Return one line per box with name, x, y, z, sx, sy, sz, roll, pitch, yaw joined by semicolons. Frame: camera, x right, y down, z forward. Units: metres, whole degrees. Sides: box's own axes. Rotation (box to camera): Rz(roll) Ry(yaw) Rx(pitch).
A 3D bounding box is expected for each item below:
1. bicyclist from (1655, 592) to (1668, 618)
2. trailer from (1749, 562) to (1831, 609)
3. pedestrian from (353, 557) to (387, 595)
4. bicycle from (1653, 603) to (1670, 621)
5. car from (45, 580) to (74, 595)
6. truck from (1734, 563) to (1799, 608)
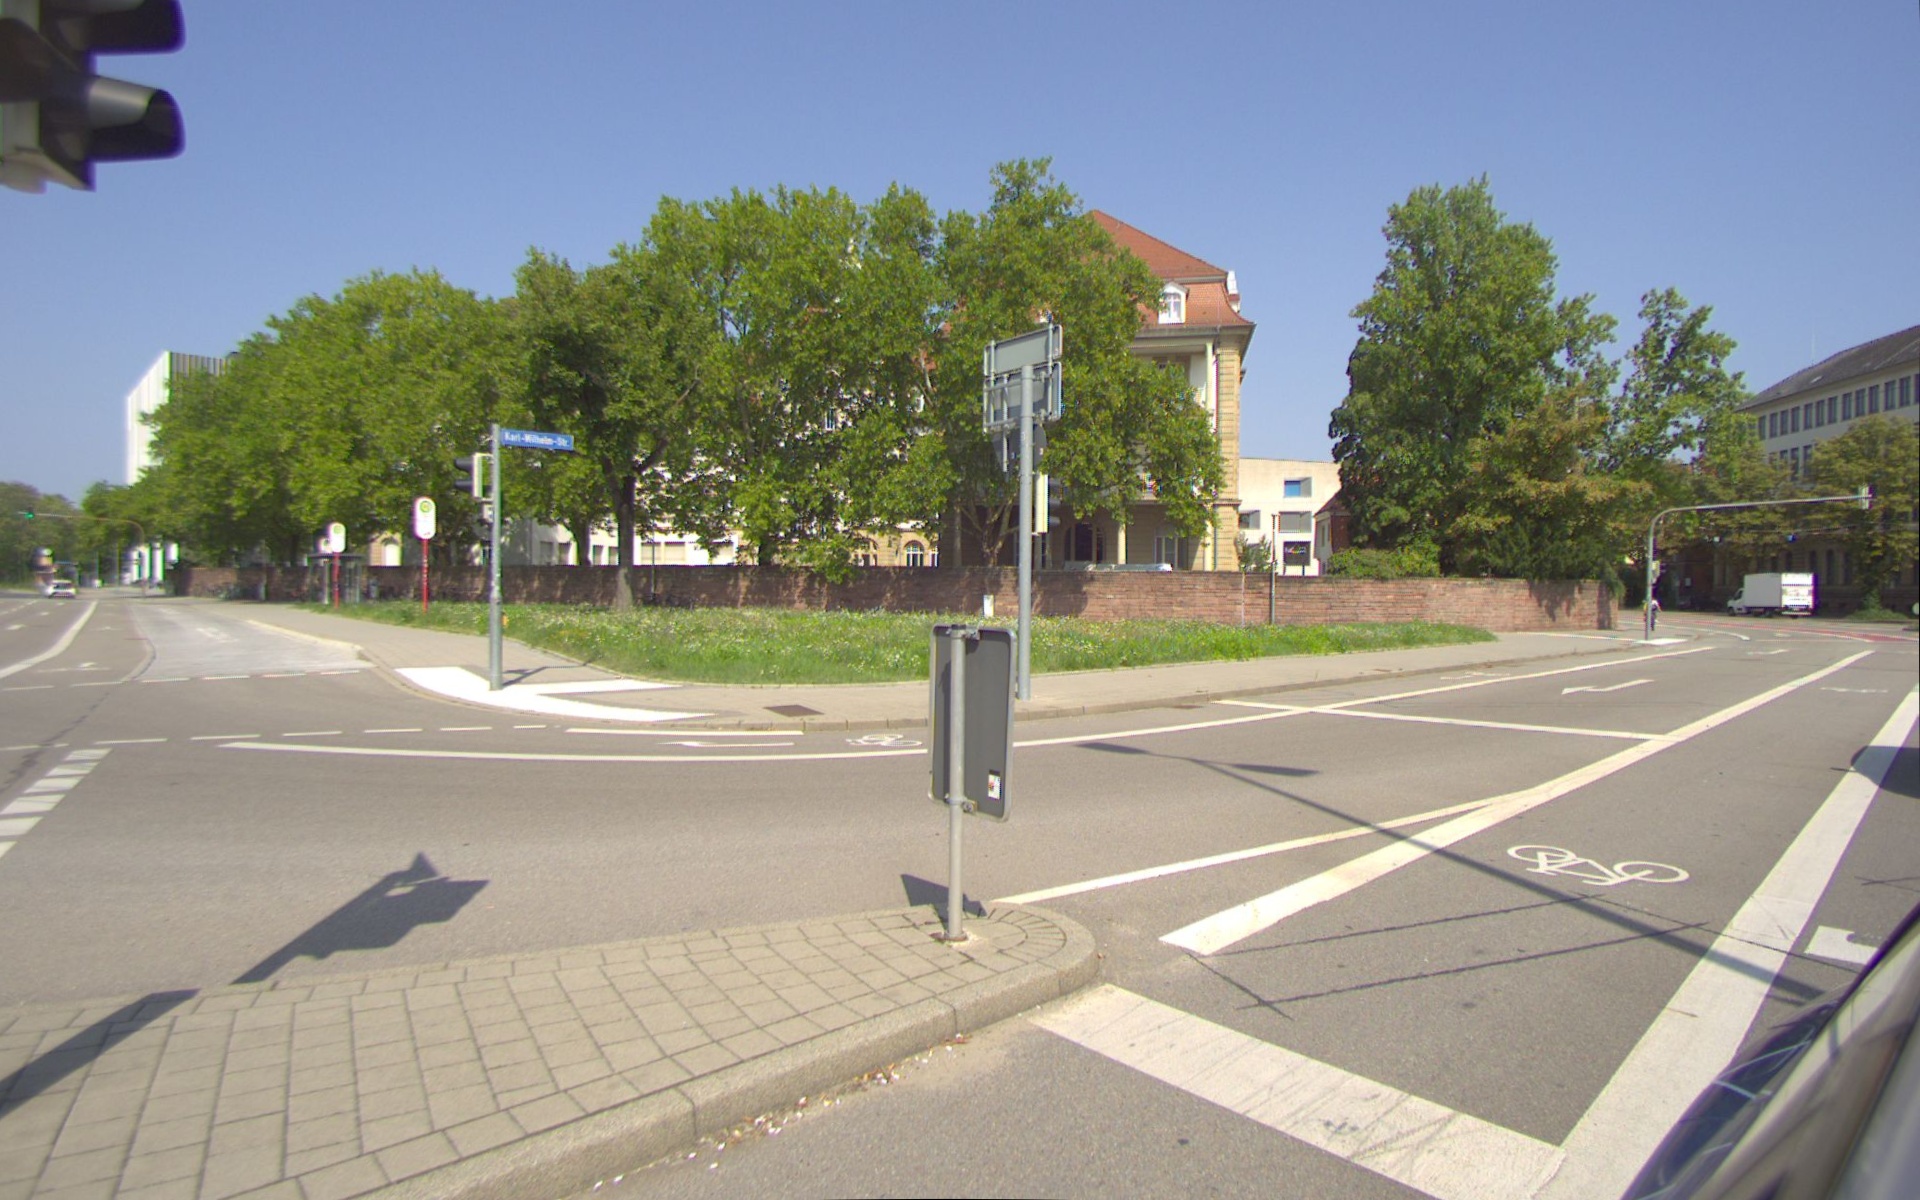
bicyclist;34.466;0.235;49.708;0.432;1.248;0.532;1;1;44
trailer;60.959;-1.076;74.463;2.402;3.329;5.076;0;1;9
pedestrian;-31.668;-1.296;54.344;1.223;2.039;1.062;1;1;27
bicycle;34.442;0.587;49.686;0.436;0.822;1.462;1;1;44
car;-70.525;-0.967;79.325;1.562;1.151;3.260;0;1;-40
truck;61.366;-1.134;77.081;2.390;3.329;3.419;0;1;9
